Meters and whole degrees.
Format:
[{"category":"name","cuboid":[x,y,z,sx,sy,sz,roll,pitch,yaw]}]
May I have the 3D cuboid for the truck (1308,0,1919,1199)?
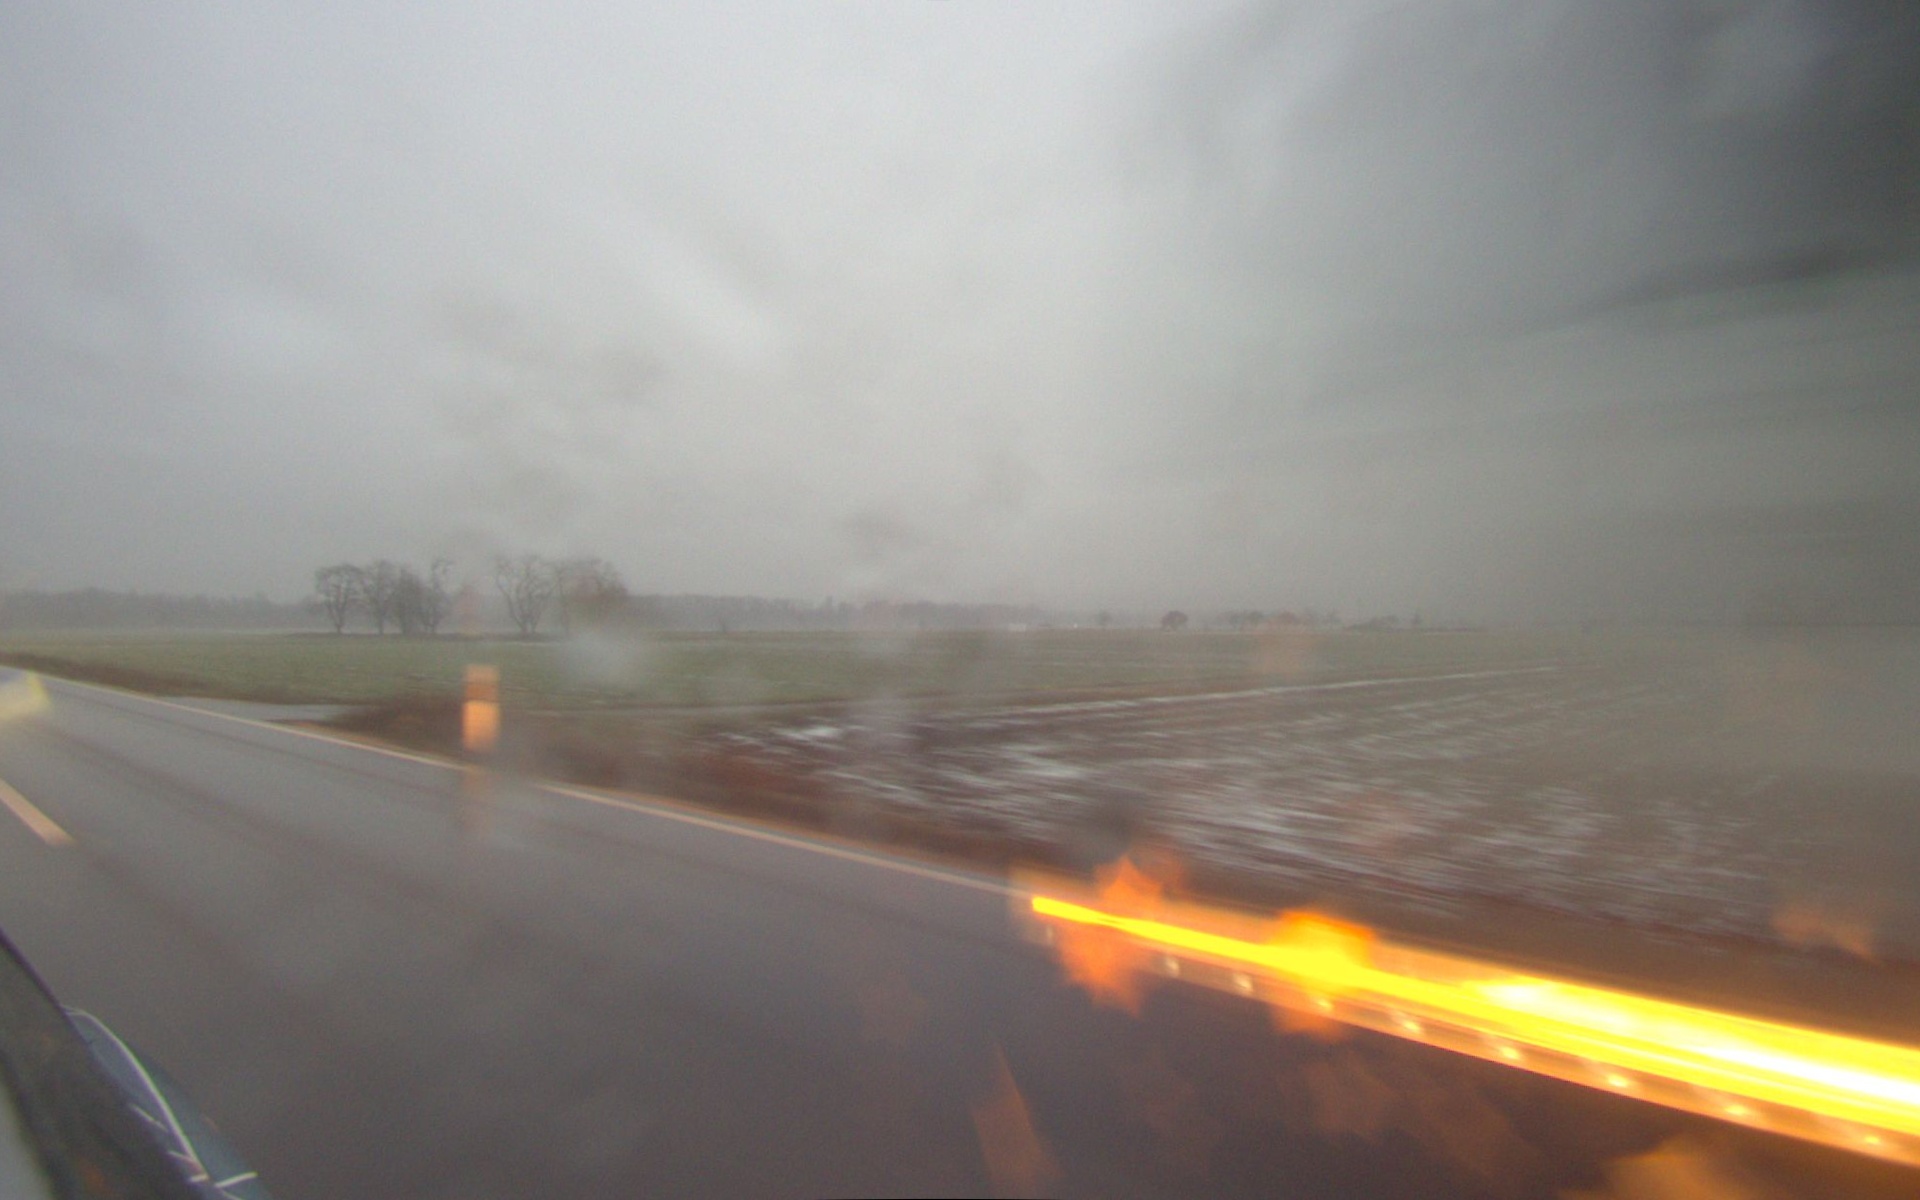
[{"category":"truck","cuboid":[3.976,-0.614,0.673,6.584,4.136,2.697,-2,-3,41]}]
